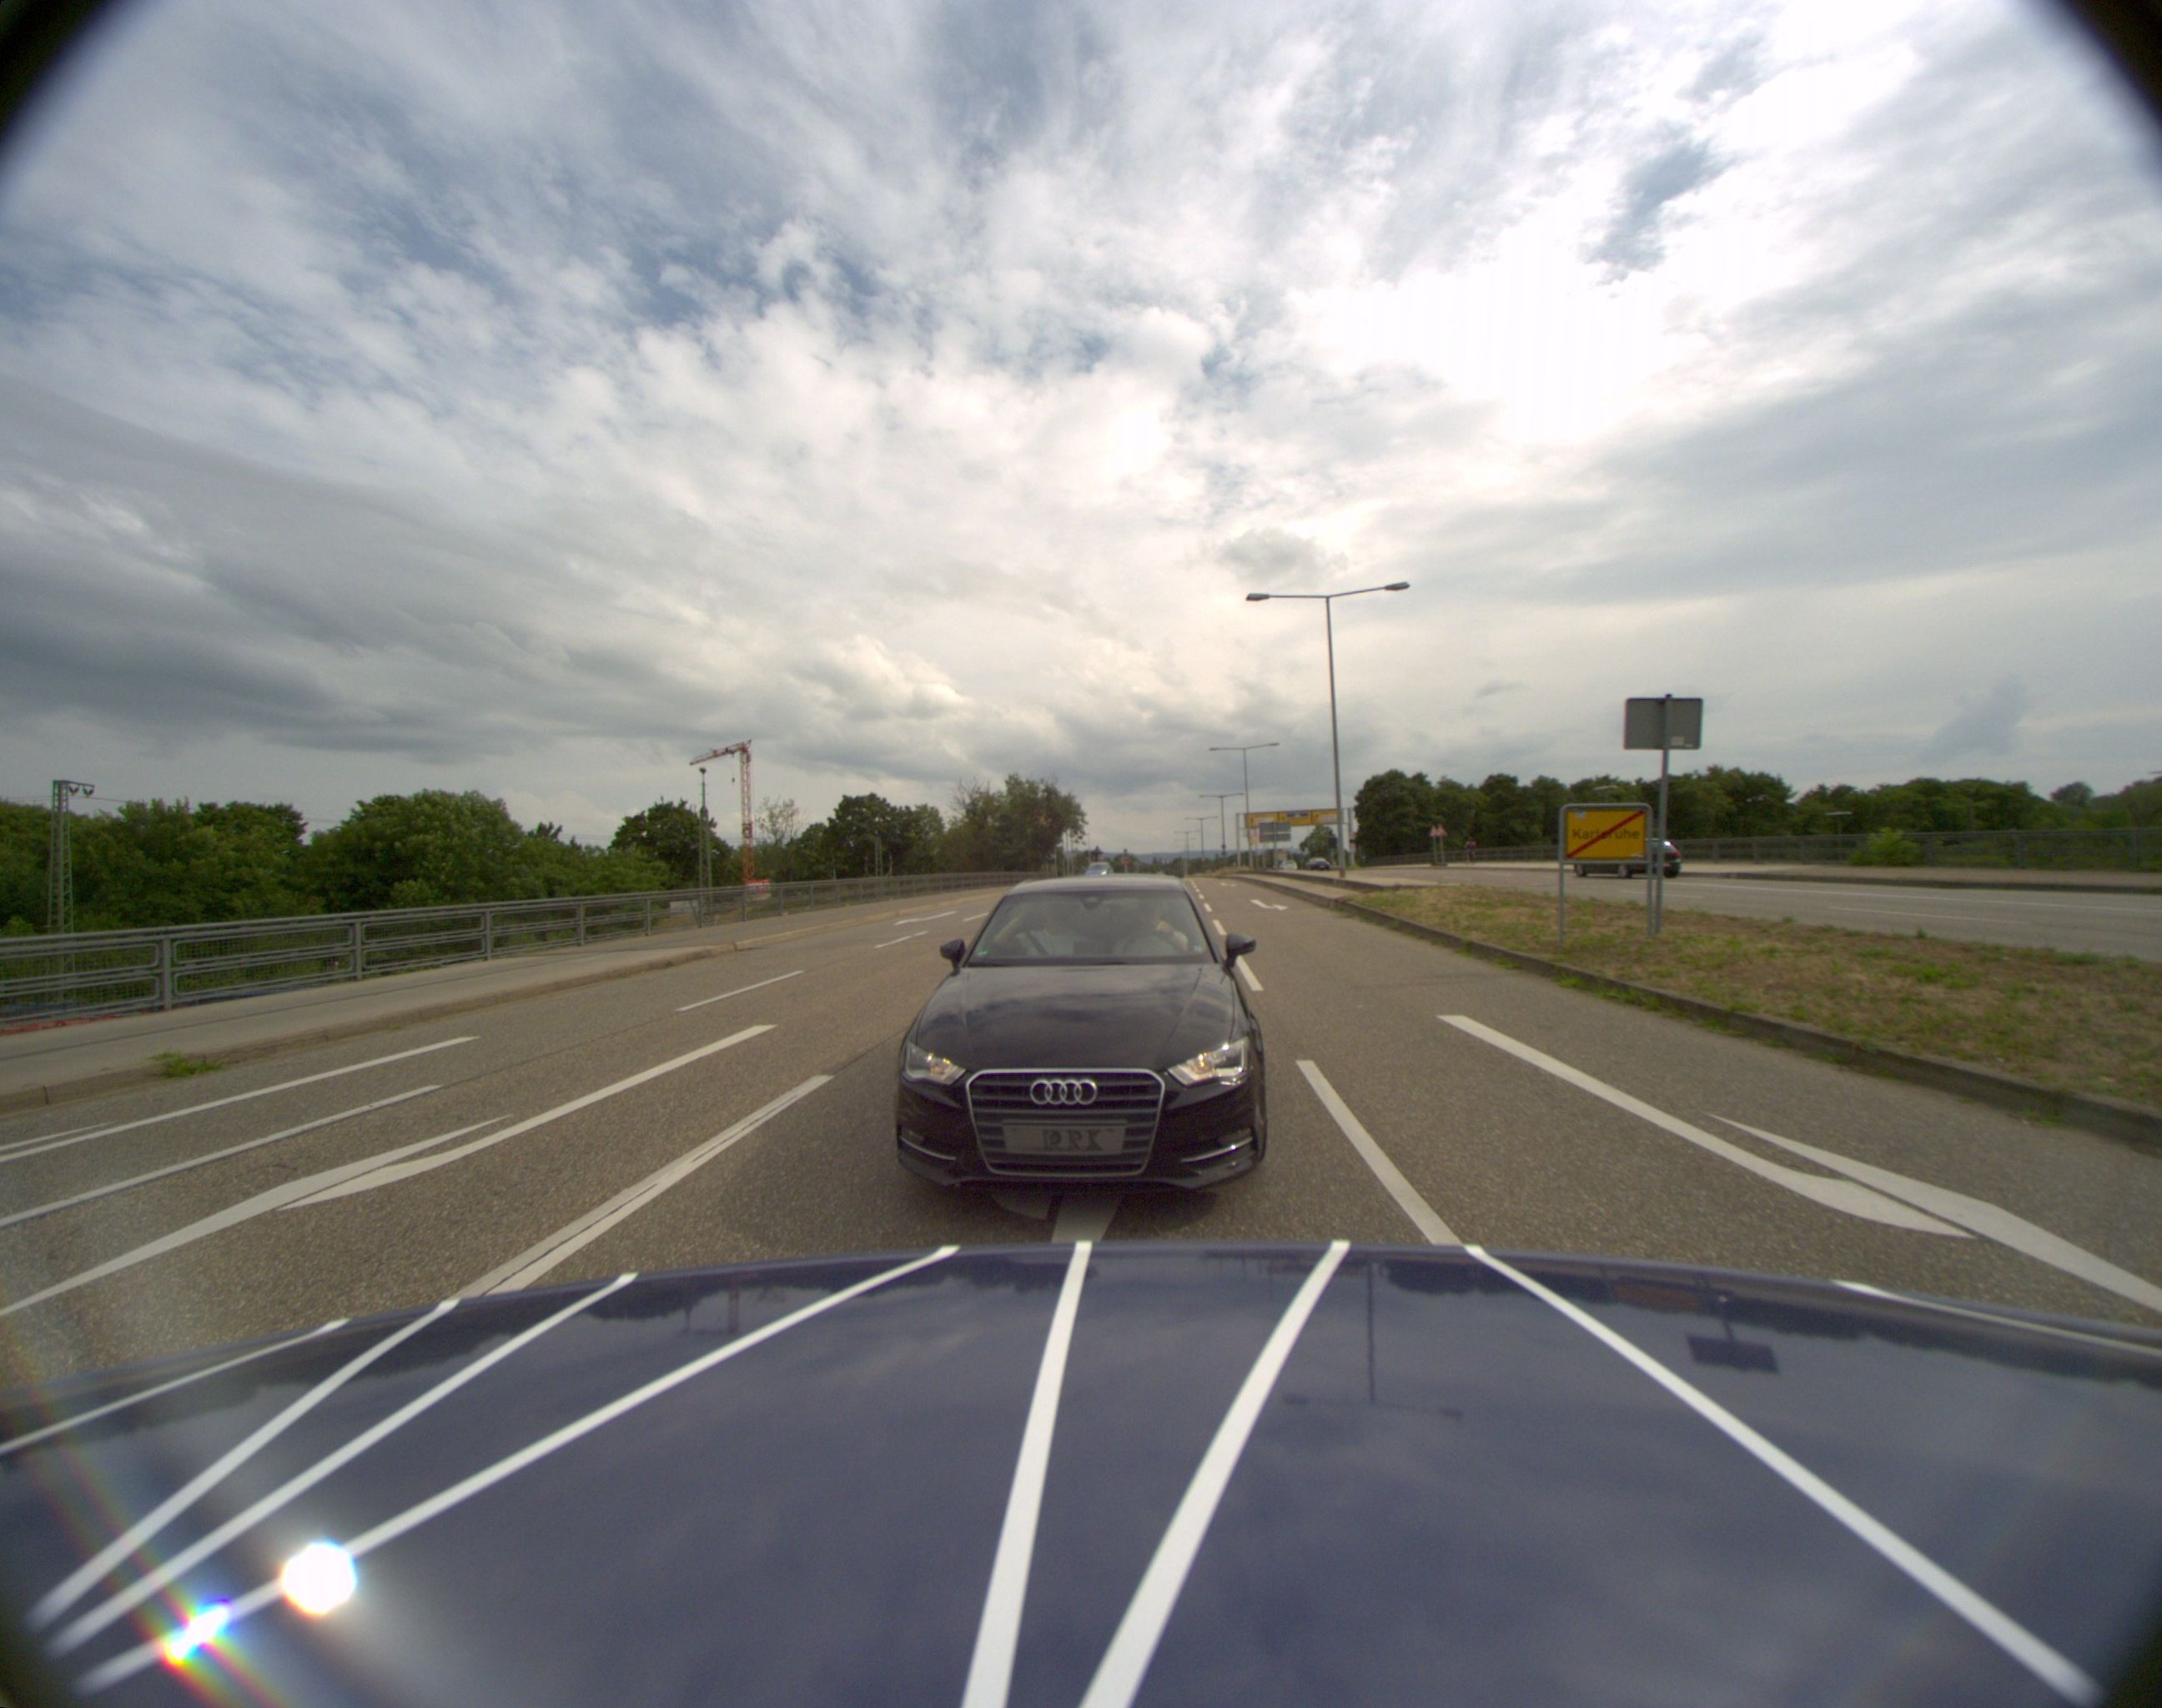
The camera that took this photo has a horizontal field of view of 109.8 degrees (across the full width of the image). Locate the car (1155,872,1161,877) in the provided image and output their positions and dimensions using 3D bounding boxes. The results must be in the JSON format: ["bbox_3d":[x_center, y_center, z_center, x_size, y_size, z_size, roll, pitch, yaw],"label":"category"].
[{"bbox_3d":[23.026,6.001,227.515,1.860,1.335,4.002,-2,0,7],"label":"car"}]

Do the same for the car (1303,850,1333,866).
[{"bbox_3d":[22.725,0.389,73.026,1.825,1.438,4.354,-2,0,5],"label":"car"}]

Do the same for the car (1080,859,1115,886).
[{"bbox_3d":[1.140,1.219,50.684,1.724,1.512,3.952,-4,0,9],"label":"car"}]

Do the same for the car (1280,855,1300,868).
[{"bbox_3d":[24.459,0.856,88.872,1.619,1.402,3.862,-1,0,6],"label":"car"}]

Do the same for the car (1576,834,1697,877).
[{"bbox_3d":[20.205,0.042,27.861,1.796,1.410,4.002,-2,0,7],"label":"car"}]

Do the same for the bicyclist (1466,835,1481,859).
[{"bbox_3d":[27.336,-0.493,52.939,0.685,1.662,0.848,-3,0,10],"label":"bicyclist"}]

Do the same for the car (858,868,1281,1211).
[{"bbox_3d":[0.199,0.883,5.736,1.851,1.355,4.731,-2,0,7],"label":"car"}]

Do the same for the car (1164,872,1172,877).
[{"bbox_3d":[22.192,5.219,194.217,1.860,1.335,4.002,-2,0,7],"label":"car"}]

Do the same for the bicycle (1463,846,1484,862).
[{"bbox_3d":[27.351,-0.017,52.990,0.685,1.047,1.996,-3,0,10],"label":"bicycle"}]

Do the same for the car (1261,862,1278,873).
[{"bbox_3d":[25.899,1.860,104.620,1.745,1.402,3.878,-1,0,5],"label":"car"}]

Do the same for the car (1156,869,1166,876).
[{"bbox_3d":[15.350,3.535,146.088,1.860,1.335,4.002,-2,0,7],"label":"car"}]

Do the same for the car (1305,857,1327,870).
[{"bbox_3d":[33.660,1.371,108.809,1.742,1.649,4.087,-1,1,36],"label":"car"}]
